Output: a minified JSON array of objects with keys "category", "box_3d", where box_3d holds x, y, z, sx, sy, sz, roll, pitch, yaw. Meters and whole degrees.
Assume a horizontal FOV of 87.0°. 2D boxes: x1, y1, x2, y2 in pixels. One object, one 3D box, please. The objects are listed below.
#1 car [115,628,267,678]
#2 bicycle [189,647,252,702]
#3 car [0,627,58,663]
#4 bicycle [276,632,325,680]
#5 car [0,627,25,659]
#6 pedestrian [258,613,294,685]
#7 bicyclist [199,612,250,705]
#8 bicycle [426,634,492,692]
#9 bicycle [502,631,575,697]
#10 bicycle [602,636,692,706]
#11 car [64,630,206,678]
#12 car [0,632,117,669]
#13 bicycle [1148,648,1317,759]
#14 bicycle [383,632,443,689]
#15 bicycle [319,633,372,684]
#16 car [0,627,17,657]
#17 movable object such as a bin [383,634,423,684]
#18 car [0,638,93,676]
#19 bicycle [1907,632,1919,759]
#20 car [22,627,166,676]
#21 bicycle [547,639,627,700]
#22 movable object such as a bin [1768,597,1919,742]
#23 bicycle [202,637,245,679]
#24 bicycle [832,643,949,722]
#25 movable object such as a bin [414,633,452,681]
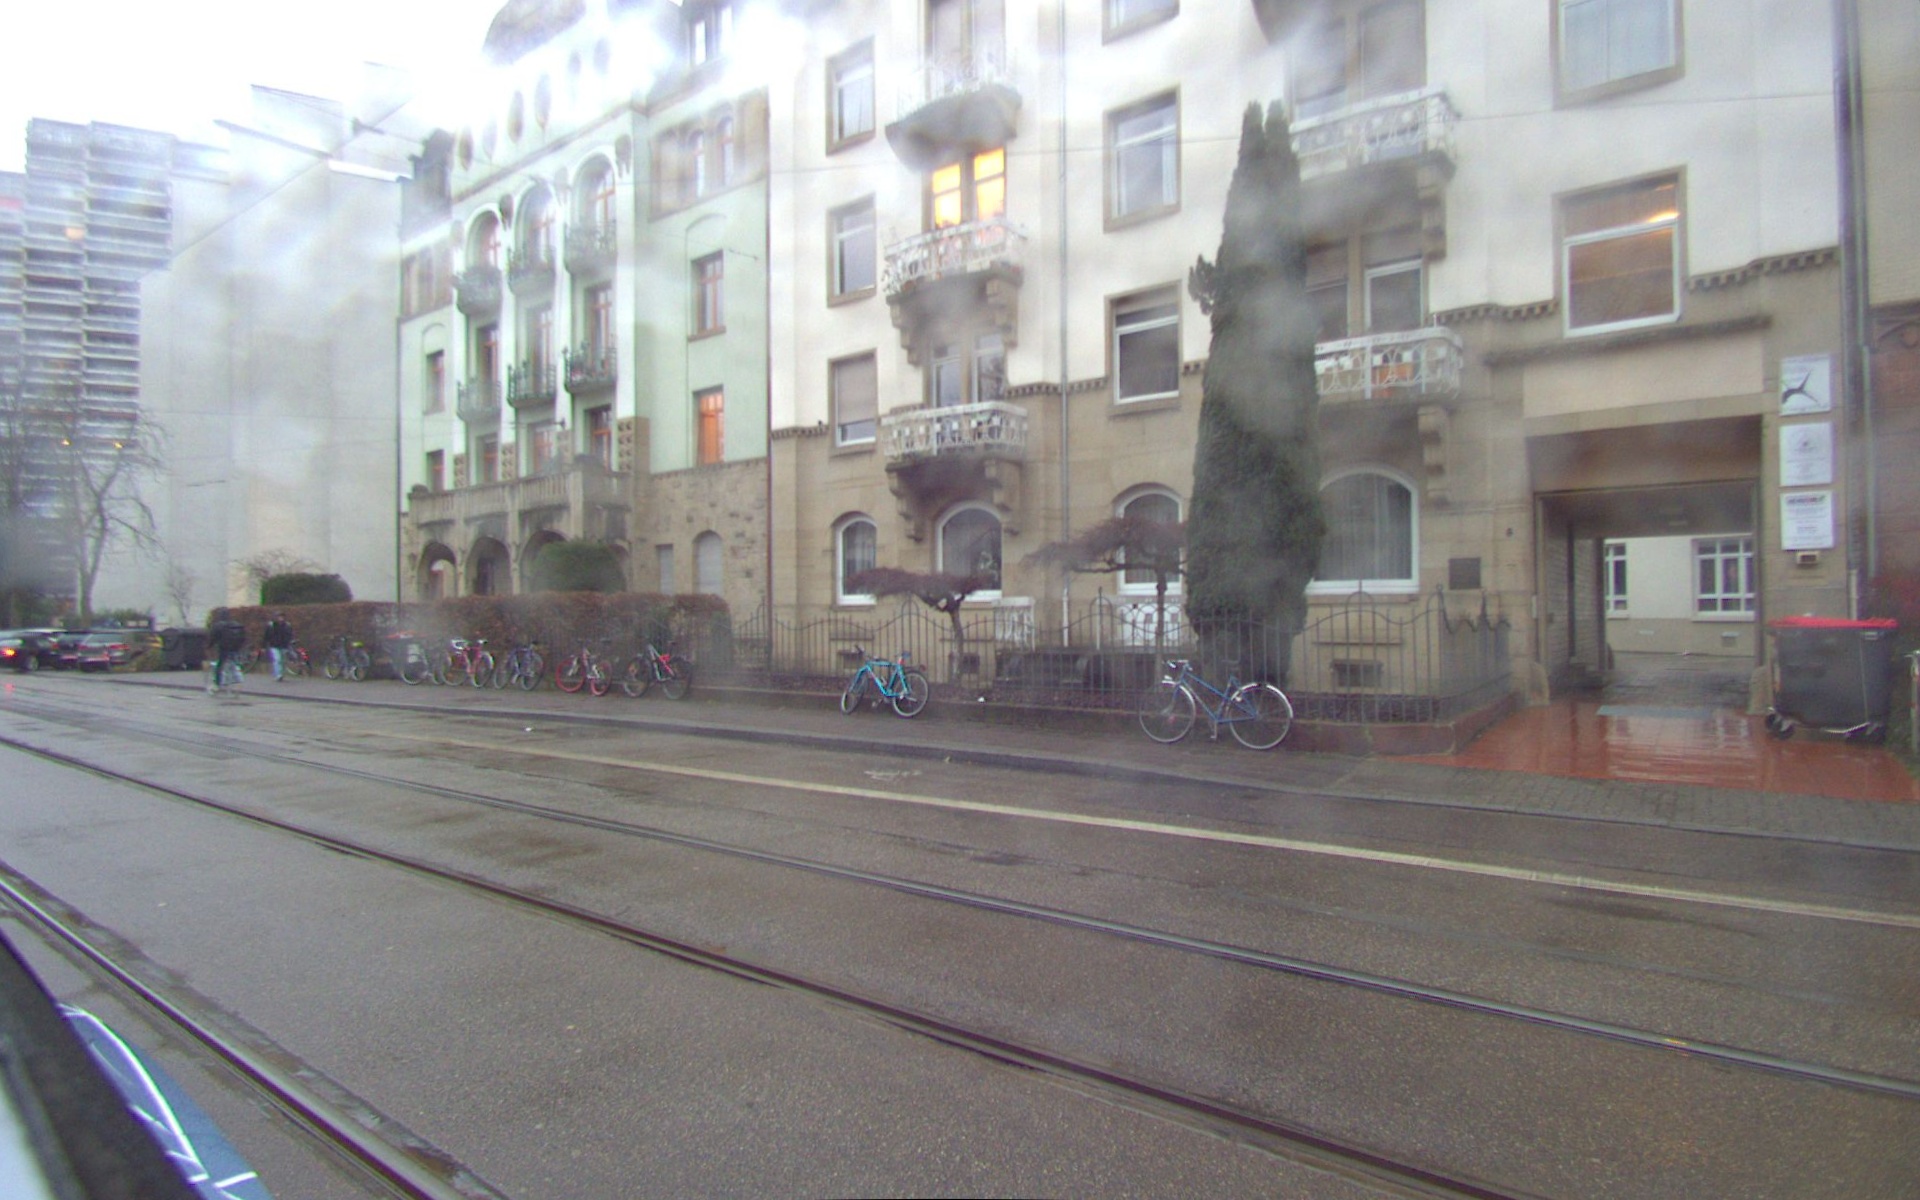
[{"category":"car","box_3d":[-26.069,1.760,34.494,1.847,1.505,3.989,-1,-1,8]},{"category":"bicycle","box_3d":[-15.624,1.549,21.372,1.946,1.101,0.617,-2,-2,40]},{"category":"car","box_3d":[-44.804,2.084,47.269,1.843,1.608,3.999,-1,-1,0]},{"category":"bicycle","box_3d":[-17.189,1.439,26.375,1.661,1.221,0.617,-2,-2,40]},{"category":"car","box_3d":[-49.974,2.218,51.126,1.843,1.608,3.999,-1,-1,0]},{"category":"pedestrian","box_3d":[-17.001,1.195,25.163,0.644,1.738,0.567,0,1,41]},{"category":"bicyclist","box_3d":[-15.401,1.199,21.187,0.990,1.891,0.617,-2,-2,40]},{"category":"bicycle","box_3d":[-10.555,1.303,21.297,1.661,1.173,0.617,-2,-2,40]},{"category":"bicycle","box_3d":[-8.254,1.227,19.802,1.661,1.221,0.617,-2,-2,40]},{"category":"bicycle","box_3d":[-5.419,1.191,17.455,1.781,1.134,0.617,-2,-2,40]},{"category":"car","box_3d":[-28.624,1.820,35.289,1.740,1.497,3.999,-1,-1,0]},{"category":"car","box_3d":[-39.220,2.160,43.994,1.843,1.460,3.999,-1,-1,0]},{"category":"bicycle","box_3d":[2.941,1.085,11.019,1.661,1.101,0.617,-2,-2,40]},{"category":"bicycle","box_3d":[-12.255,1.339,22.658,1.661,1.221,0.617,-2,-2,40]},{"category":"bicycle","box_3d":[-15.230,1.426,25.062,1.661,1.221,0.617,-2,-2,40]},{"category":"car","box_3d":[-52.286,2.261,53.114,1.843,1.608,3.999,-1,-1,0]},{"category":"movable object such as a bin","box_3d":[-13.561,1.419,24.623,0.674,1.173,0.651,-2,-2,40]},{"category":"car","box_3d":[-33.204,1.987,35.942,1.687,1.262,3.666,0,-2,-1]},{"category":"bicycle","box_3d":[8.689,0.893,8.617,0.694,1.114,2.326,-2,1,38]},{"category":"car","box_3d":[-31.255,1.820,36.700,1.843,1.608,3.999,-1,-1,0]},{"category":"bicycle","box_3d":[-6.914,1.259,18.716,1.725,1.073,0.617,-2,-2,40]},{"category":"movable object such as a bin","box_3d":[9.384,0.697,10.786,1.166,1.390,1.092,-2,1,39]},{"category":"bicycle","box_3d":[-21.428,1.676,29.437,1.661,1.173,0.617,-2,-1,40]},{"category":"bicycle","box_3d":[-0.983,1.121,14.084,1.661,1.010,0.617,-2,-2,40]},{"category":"movable object such as a bin","box_3d":[-13.122,1.408,25.192,0.674,1.173,0.617,-2,-2,40]}]
